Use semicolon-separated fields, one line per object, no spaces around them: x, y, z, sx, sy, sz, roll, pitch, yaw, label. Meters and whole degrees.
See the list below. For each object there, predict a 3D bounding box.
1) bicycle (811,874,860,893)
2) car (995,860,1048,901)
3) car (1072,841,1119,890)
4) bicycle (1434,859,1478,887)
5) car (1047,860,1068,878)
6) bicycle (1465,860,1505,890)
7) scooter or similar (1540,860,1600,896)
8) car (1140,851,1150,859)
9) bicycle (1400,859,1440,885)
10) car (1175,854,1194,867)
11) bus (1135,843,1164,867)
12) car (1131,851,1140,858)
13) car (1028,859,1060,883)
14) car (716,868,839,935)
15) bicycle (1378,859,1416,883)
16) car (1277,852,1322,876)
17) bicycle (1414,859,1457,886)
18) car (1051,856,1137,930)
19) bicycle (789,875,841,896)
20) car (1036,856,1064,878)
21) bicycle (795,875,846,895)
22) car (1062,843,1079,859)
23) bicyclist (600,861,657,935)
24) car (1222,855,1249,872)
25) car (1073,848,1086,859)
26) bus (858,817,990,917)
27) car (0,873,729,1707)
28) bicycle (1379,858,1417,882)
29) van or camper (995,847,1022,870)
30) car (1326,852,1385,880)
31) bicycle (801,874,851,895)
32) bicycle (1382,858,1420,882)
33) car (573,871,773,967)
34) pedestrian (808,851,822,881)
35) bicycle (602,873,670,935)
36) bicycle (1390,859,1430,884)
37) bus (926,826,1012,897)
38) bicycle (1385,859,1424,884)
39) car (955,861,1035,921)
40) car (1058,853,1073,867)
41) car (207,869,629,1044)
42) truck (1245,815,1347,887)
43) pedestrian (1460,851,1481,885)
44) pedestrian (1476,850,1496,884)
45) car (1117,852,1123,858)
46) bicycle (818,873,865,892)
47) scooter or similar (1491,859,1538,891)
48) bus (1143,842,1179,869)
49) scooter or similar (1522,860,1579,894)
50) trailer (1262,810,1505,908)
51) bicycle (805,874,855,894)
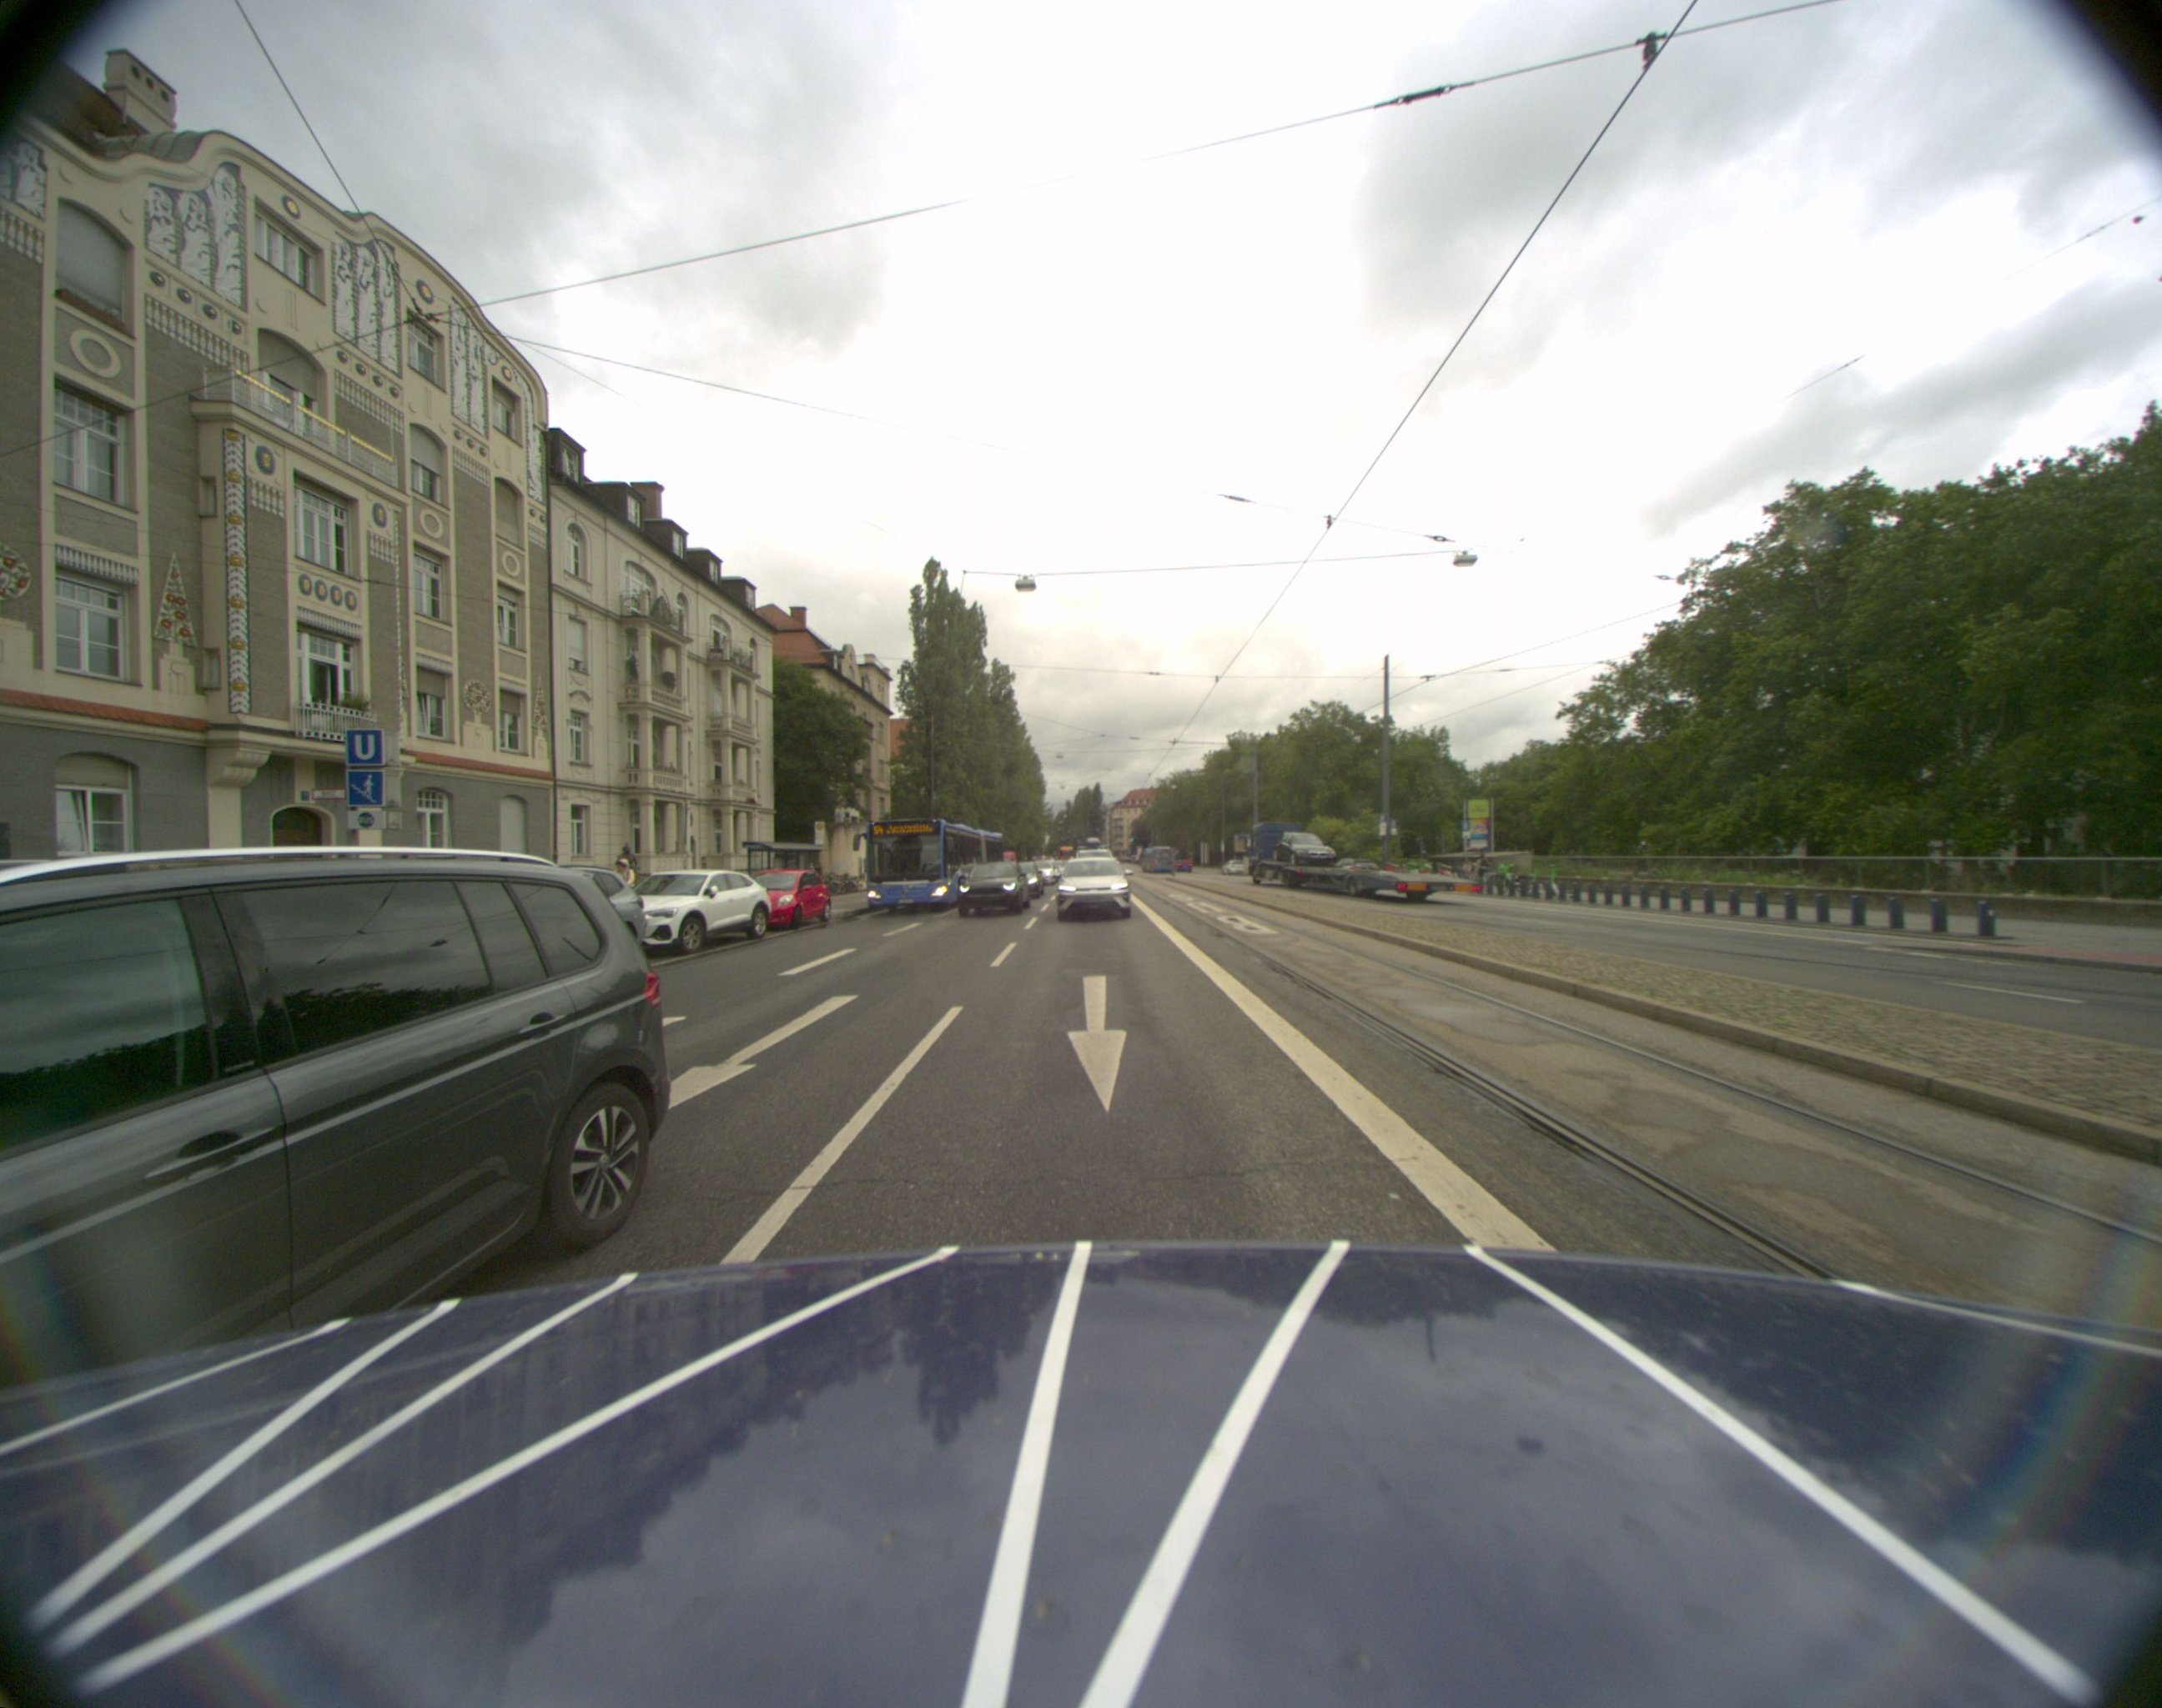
-13.024;1.550;40.344;2.323;0.916;0.600;-2;1;-2;bicycle
-2.355;1.030;31.127;1.704;1.425;4.245;-3;0;1;car
0.661;0.491;35.188;1.998;2.100;4.000;-1;1;1;car
16.249;0.804;32.921;1.693;1.165;0.561;-1;1;-9;bicycle
-2.046;1.311;66.882;1.704;1.513;3.632;0;0;0;car
16.191;0.820;30.443;1.696;1.165;0.560;-1;1;-29;bicycle
16.709;0.819;25.990;1.692;1.165;0.562;-1;1;-2;scooter or similar
13.411;0.244;159.554;1.809;1.674;4.000;-1;0;1;car
15.584;0.826;34.914;1.693;1.165;0.505;-1;1;-9;bicycle
13.158;0.838;96.738;1.809;1.633;4.000;-1;0;1;car
9.136;0.086;103.179;2.632;2.949;12.844;1;0;-1;bus
13.045;0.150;181.393;1.809;1.674;4.000;-1;0;1;car
-2.143;1.008;45.362;1.704;1.360;3.632;0;0;0;car
-7.813;1.171;19.935;1.730;1.500;3.742;0;0;0;car
15.438;0.821;37.130;1.693;1.165;0.505;-1;1;-6;bicycle
15.332;0.686;53.447;1.998;1.561;4.101;-1;0;1;car
15.906;0.815;34.089;1.693;1.165;0.561;-1;1;-9;bicycle
0.381;0.872;19.210;1.812;1.496;4.953;-3;0;2;car
-13.162;1.572;37.678;2.323;0.916;0.600;-2;1;-2;bicycle
-2.044;0.846;50.869;1.704;1.379;3.632;0;0;0;car
-13.130;1.566;38.398;2.323;0.916;0.600;-2;1;-2;bicycle
-1.891;-0.513;138.646;2.806;2.836;5.114;-1;0;1;car
-10.128;0.961;17.027;0.681;1.594;0.939;-1;1;1;bicyclist
15.161;0.910;74.526;1.893;1.521;4.000;0;0;1;car
-0.233;-0.023;154.866;2.465;2.178;5.456;-1;0;1;car
-5.382;0.377;28.056;2.637;2.956;9.466;-3;0;1;bus
-2.861;0.945;1.737;1.776;1.637;4.708;-1;0;2;car
15.998;0.798;38.347;1.692;1.165;0.562;-1;1;-2;bicycle
-7.133;0.417;74.888;2.124;2.086;5.513;-1;0;0;van or camper
15.576;0.657;43.321;1.864;1.517;4.232;0;0;1;car
-13.093;1.561;38.989;2.323;0.916;0.600;-2;1;-2;bicycle
15.903;0.794;37.802;1.693;1.165;0.505;-1;1;-3;bicycle
-7.908;1.179;15.213;1.730;1.567;3.967;0;0;2;car
-17.267;0.775;49.263;0.609;1.885;0.673;-1;1;3;pedestrian
-10.086;1.094;17.298;0.424;1.281;1.778;-1;1;2;bicycle
15.537;0.823;35.847;1.693;1.165;0.561;-1;1;-9;bicycle
-5.231;0.317;37.033;2.637;2.956;8.534;-3;0;1;bus
15.510;0.822;36.432;1.693;1.165;0.505;-1;1;-7;bicycle
-2.449;1.021;22.518;1.780;1.495;3.970;-3;0;1;car
-1.821;0.684;89.583;1.704;1.513;3.632;-1;0;0;car
-8.324;1.129;10.256;1.737;1.651;4.501;2;1;0;car
10.094;-0.146;36.578;2.572;3.069;7.689;1;0;-1;truck
18.116;0.636;35.339;0.632;1.549;0.589;0;1;0;pedestrian
18.947;0.594;35.576;0.632;1.549;0.589;0;1;0;pedestrian
11.079;0.255;217.111;1.628;1.473;3.602;-1;0;1;car
-13.003;1.544;41.250;2.323;0.916;0.600;-2;1;-2;bicycle
16.757;0.798;29.354;1.695;1.165;0.561;-1;1;-18;scooter or similar
9.294;0.151;90.064;2.632;2.949;13.414;1;0;-1;bus
16.779;0.809;27.173;1.692;1.165;0.562;-1;1;-2;scooter or similar
10.279;0.112;28.917;2.617;2.666;15.636;1;0;-1;trailer
-13.071;1.557;39.609;2.323;0.916;0.600;-2;1;-2;bicycle
